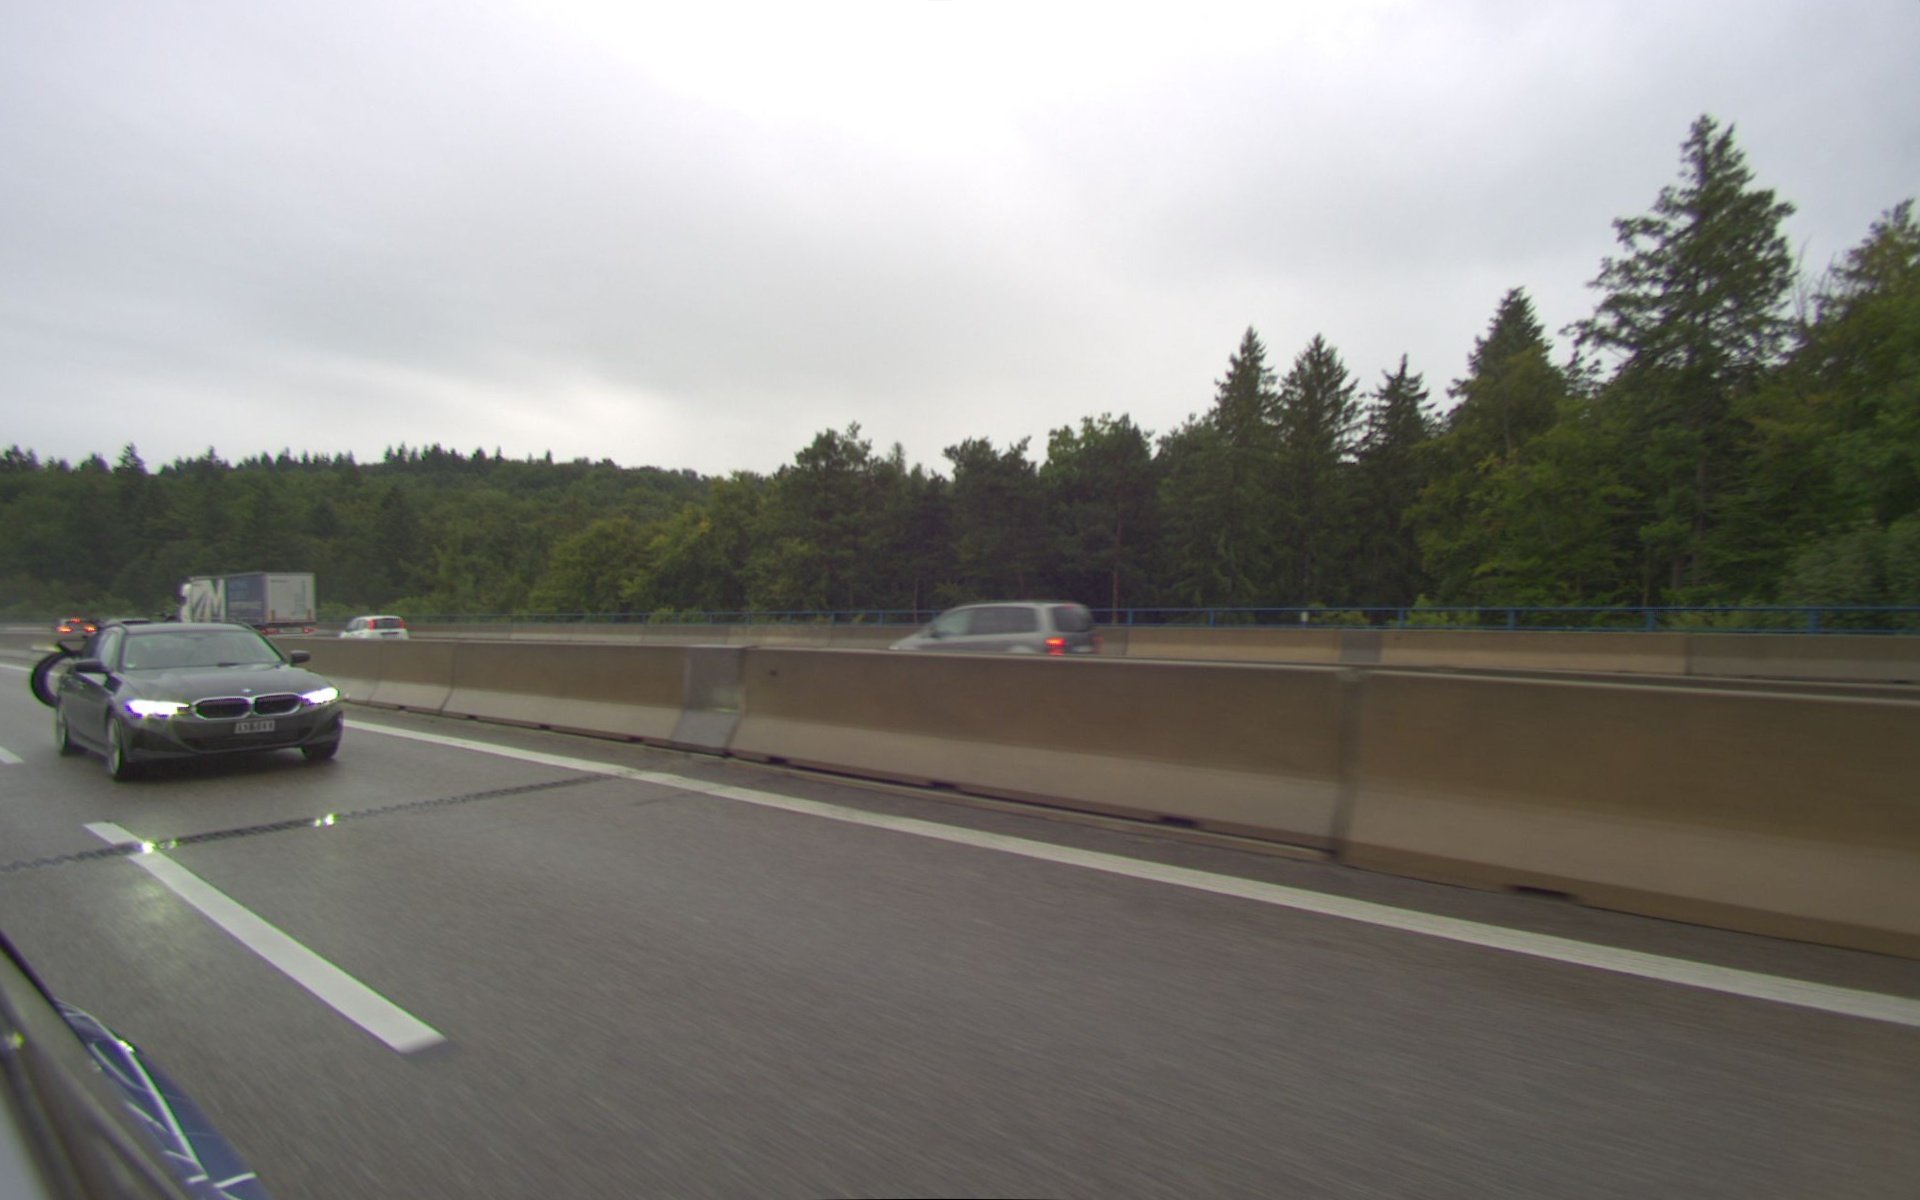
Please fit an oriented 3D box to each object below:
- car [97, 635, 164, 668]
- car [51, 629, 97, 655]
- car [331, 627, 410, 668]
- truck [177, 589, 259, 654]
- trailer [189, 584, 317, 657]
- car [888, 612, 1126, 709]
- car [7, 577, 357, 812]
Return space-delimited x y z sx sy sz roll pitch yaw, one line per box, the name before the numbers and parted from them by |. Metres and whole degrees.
car | -42.020 2.588 51.236 4.775 1.560 1.866 -2 -1 41
car | -57.840 2.722 66.031 3.884 1.560 1.765 -2 -1 41
car | -23.462 1.878 40.236 3.636 1.532 1.640 -2 -1 41
truck | -48.485 1.435 66.090 6.376 4.063 2.917 -2 -1 40
trailer | -43.339 1.288 61.763 13.775 4.063 2.917 -2 -1 40
car | 0.773 1.057 18.654 4.265 1.590 1.687 -2 -2 41
car | -8.852 0.872 11.222 6.159 1.960 1.888 -2 -2 41
